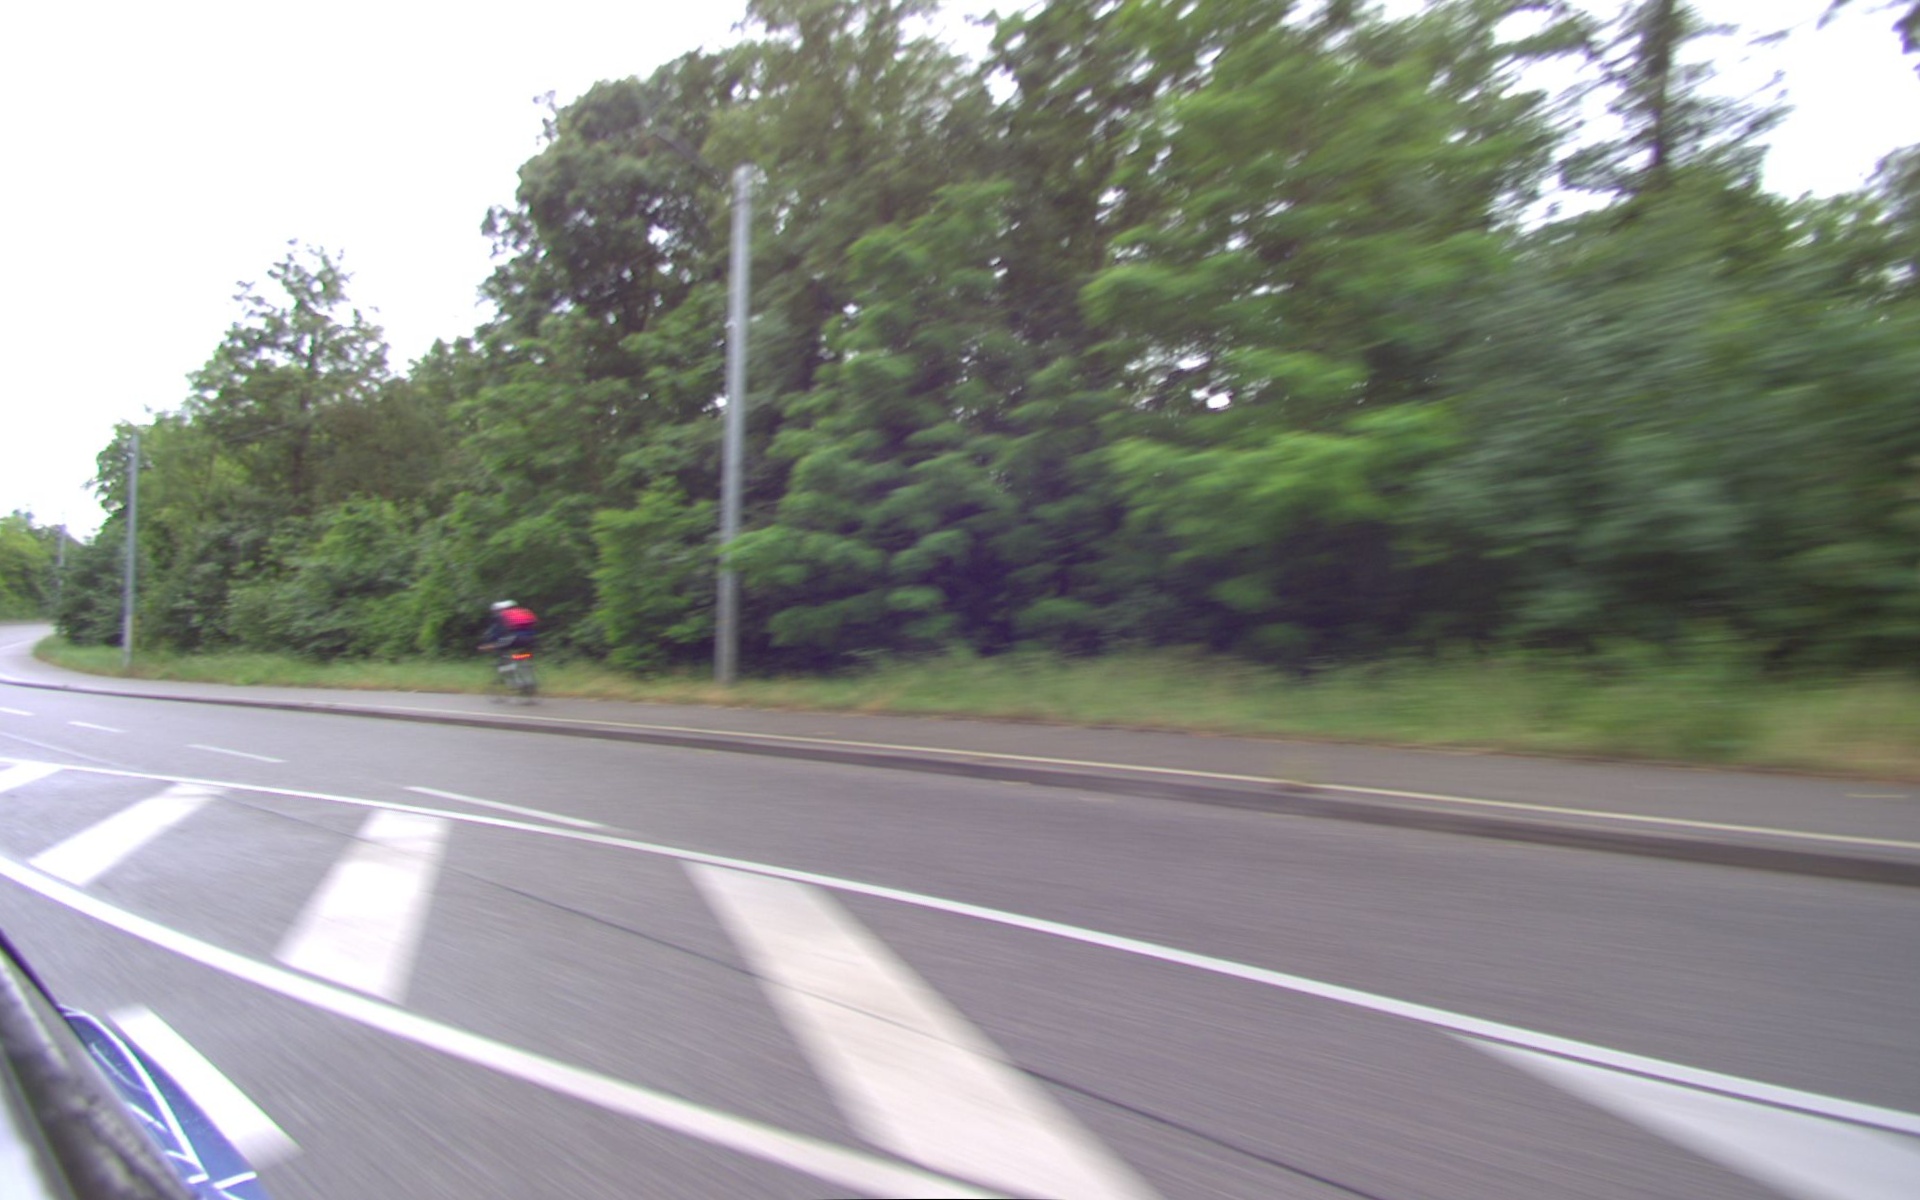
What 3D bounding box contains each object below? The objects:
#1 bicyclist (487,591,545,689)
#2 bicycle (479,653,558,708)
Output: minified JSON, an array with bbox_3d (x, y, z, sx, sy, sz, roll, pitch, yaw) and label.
[{"bbox_3d":[-7.438,0.668,16.928,1.297,1.586,0.332,-3,-2,41],"label":"bicyclist"},{"bbox_3d":[-7.399,1.319,16.899,2.092,0.855,0.352,-3,-1,41],"label":"bicycle"}]
